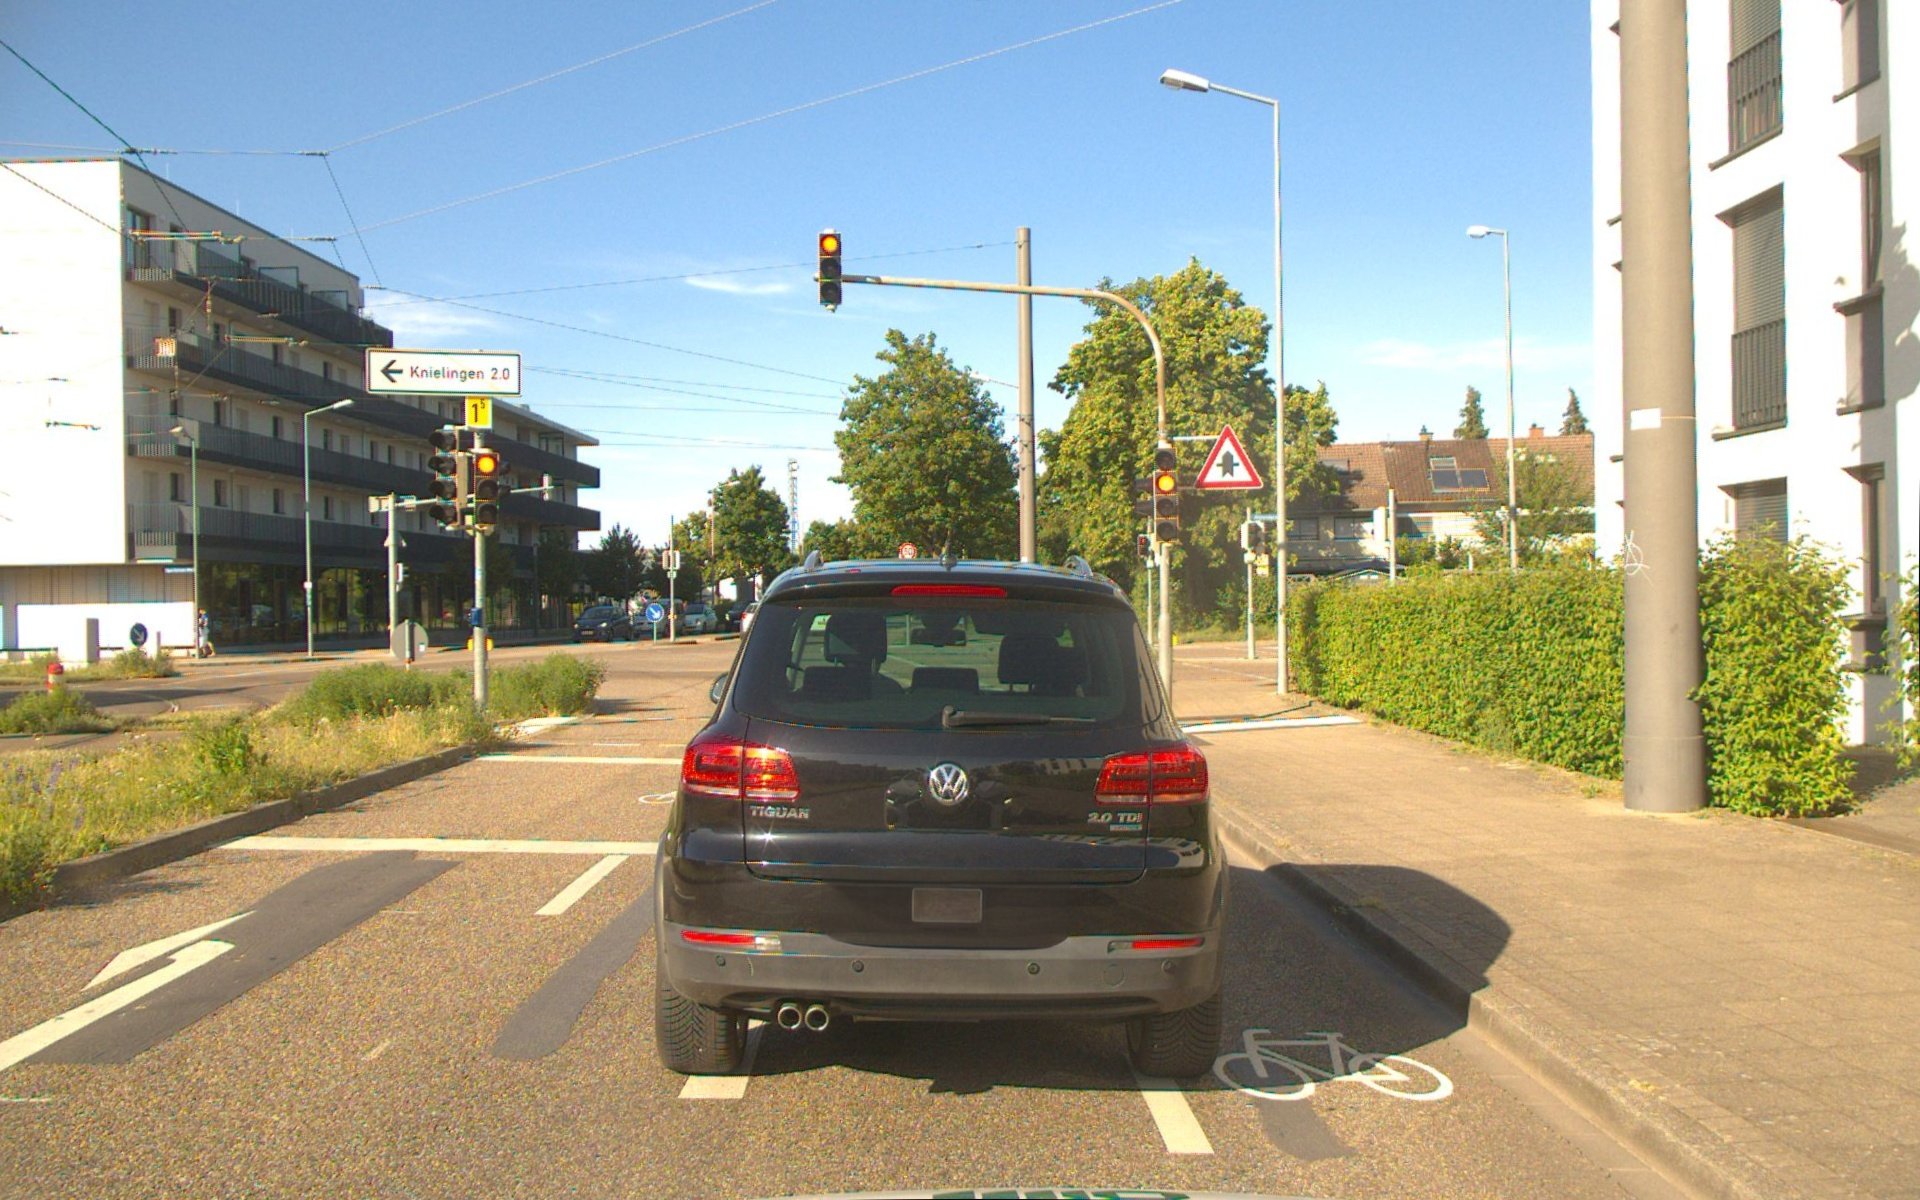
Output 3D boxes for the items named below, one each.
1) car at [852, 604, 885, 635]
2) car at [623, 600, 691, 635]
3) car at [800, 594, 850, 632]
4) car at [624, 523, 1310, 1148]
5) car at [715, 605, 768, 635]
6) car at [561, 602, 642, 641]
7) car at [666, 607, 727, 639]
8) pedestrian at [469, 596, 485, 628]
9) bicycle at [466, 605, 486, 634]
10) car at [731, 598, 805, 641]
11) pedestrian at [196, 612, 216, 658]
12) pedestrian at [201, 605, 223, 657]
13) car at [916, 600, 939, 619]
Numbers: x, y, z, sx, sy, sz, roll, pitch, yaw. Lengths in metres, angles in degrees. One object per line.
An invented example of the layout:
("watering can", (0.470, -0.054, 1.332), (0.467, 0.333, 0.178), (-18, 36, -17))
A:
("car", (-5.779, 1.216, 104.895), (1.953, 1.869, 3.998), (1, 0, -2))
("car", (-14.447, 0.809, 79.096), (1.951, 1.601, 4.342), (1, 0, 7))
("car", (-6.369, 0.584, 78.418), (1.824, 1.750, 3.688), (0, 0, 4))
("car", (-0.003, 0.648, 6.476), (1.831, 1.666, 3.999), (1, 0, -1))
("car", (-12.425, 1.125, 94.146), (1.951, 1.601, 4.342), (1, 0, 7))
("car", (-15.382, 0.904, 71.218), (1.951, 1.601, 4.343), (1, 0, 9))
("car", (-13.598, 1.177, 85.522), (1.951, 1.601, 4.342), (1, 0, 7))
("pedestrian", (-23.352, 0.586, 79.916), (0.631, 1.535, 0.595), (1, -1, -9))
("bicycle", (-23.373, 0.948, 79.872), (0.618, 1.355, 1.909), (1, 0, -8))
("car", (-7.061, 0.706, 61.240), (1.824, 1.511, 4.113), (-1, 0, 7))
("pedestrian", (-25.573, 1.183, 56.087), (0.433, 1.529, 0.517), (1, -1, -6))
("pedestrian", (-25.608, 1.067, 56.625), (0.532, 1.774, 0.517), (1, -1, -6))
("car", (-2.983, 0.853, 150.787), (1.953, 1.713, 3.998), (1, 0, -2))
